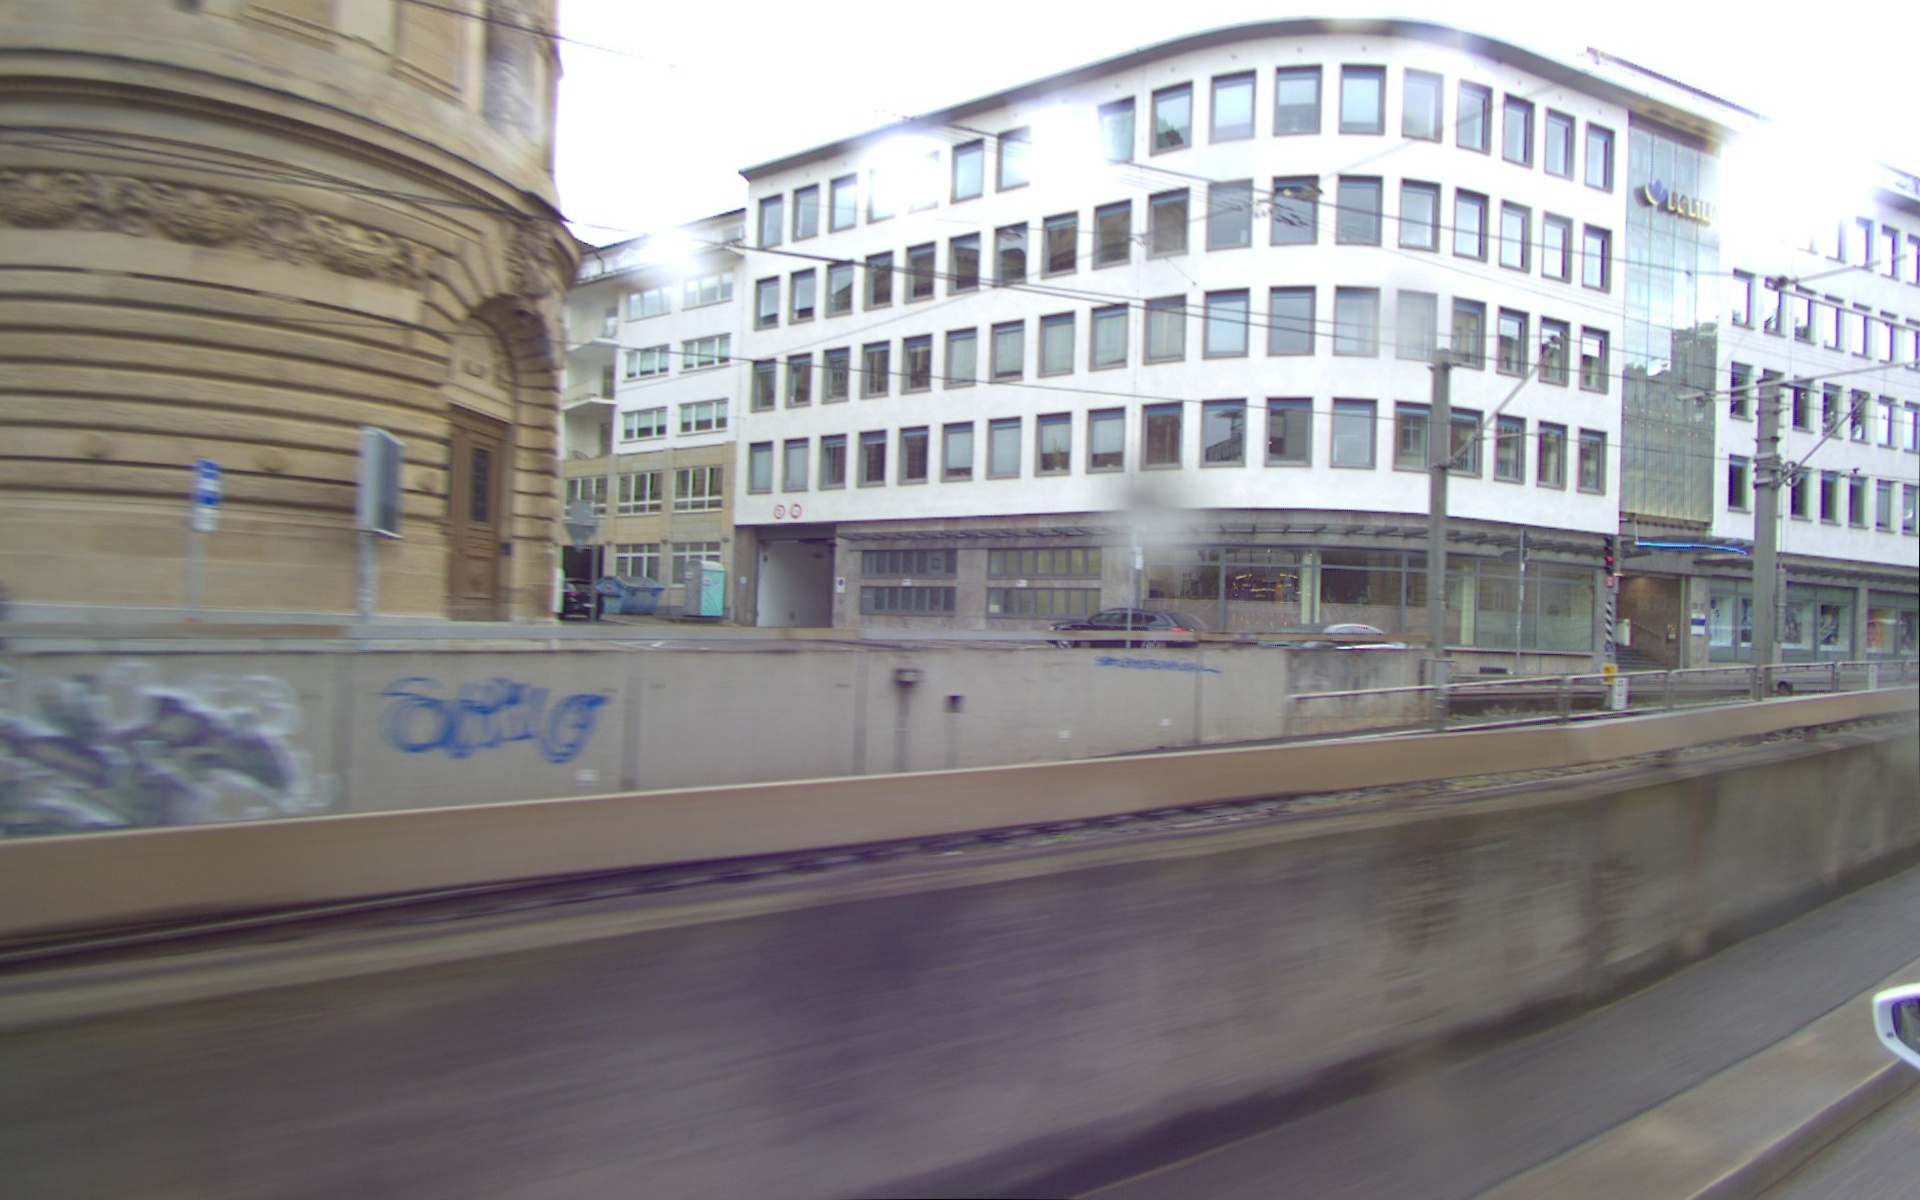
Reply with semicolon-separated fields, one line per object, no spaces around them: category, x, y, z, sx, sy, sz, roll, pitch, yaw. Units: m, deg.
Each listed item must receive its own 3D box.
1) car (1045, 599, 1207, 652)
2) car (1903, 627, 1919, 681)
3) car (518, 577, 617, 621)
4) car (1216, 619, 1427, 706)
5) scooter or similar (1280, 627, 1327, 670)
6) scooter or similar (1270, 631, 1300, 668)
car;5.103;0.815;31.127;4.696;1.542;1.673;-1;-3;31
car;36.510;2.008;36.205;4.860;1.908;1.988;2;0;-25
car;-14.944;0.014;38.175;3.945;1.438;1.989;-3;-4;43
car;7.220;1.213;20.083;3.613;1.548;1.988;2;0;-25
scooter or similar;10.081;1.425;29.485;1.166;1.194;0.547;2;0;-10
scooter or similar;9.790;1.484;30.280;0.538;1.058;0.822;2;0;-9
